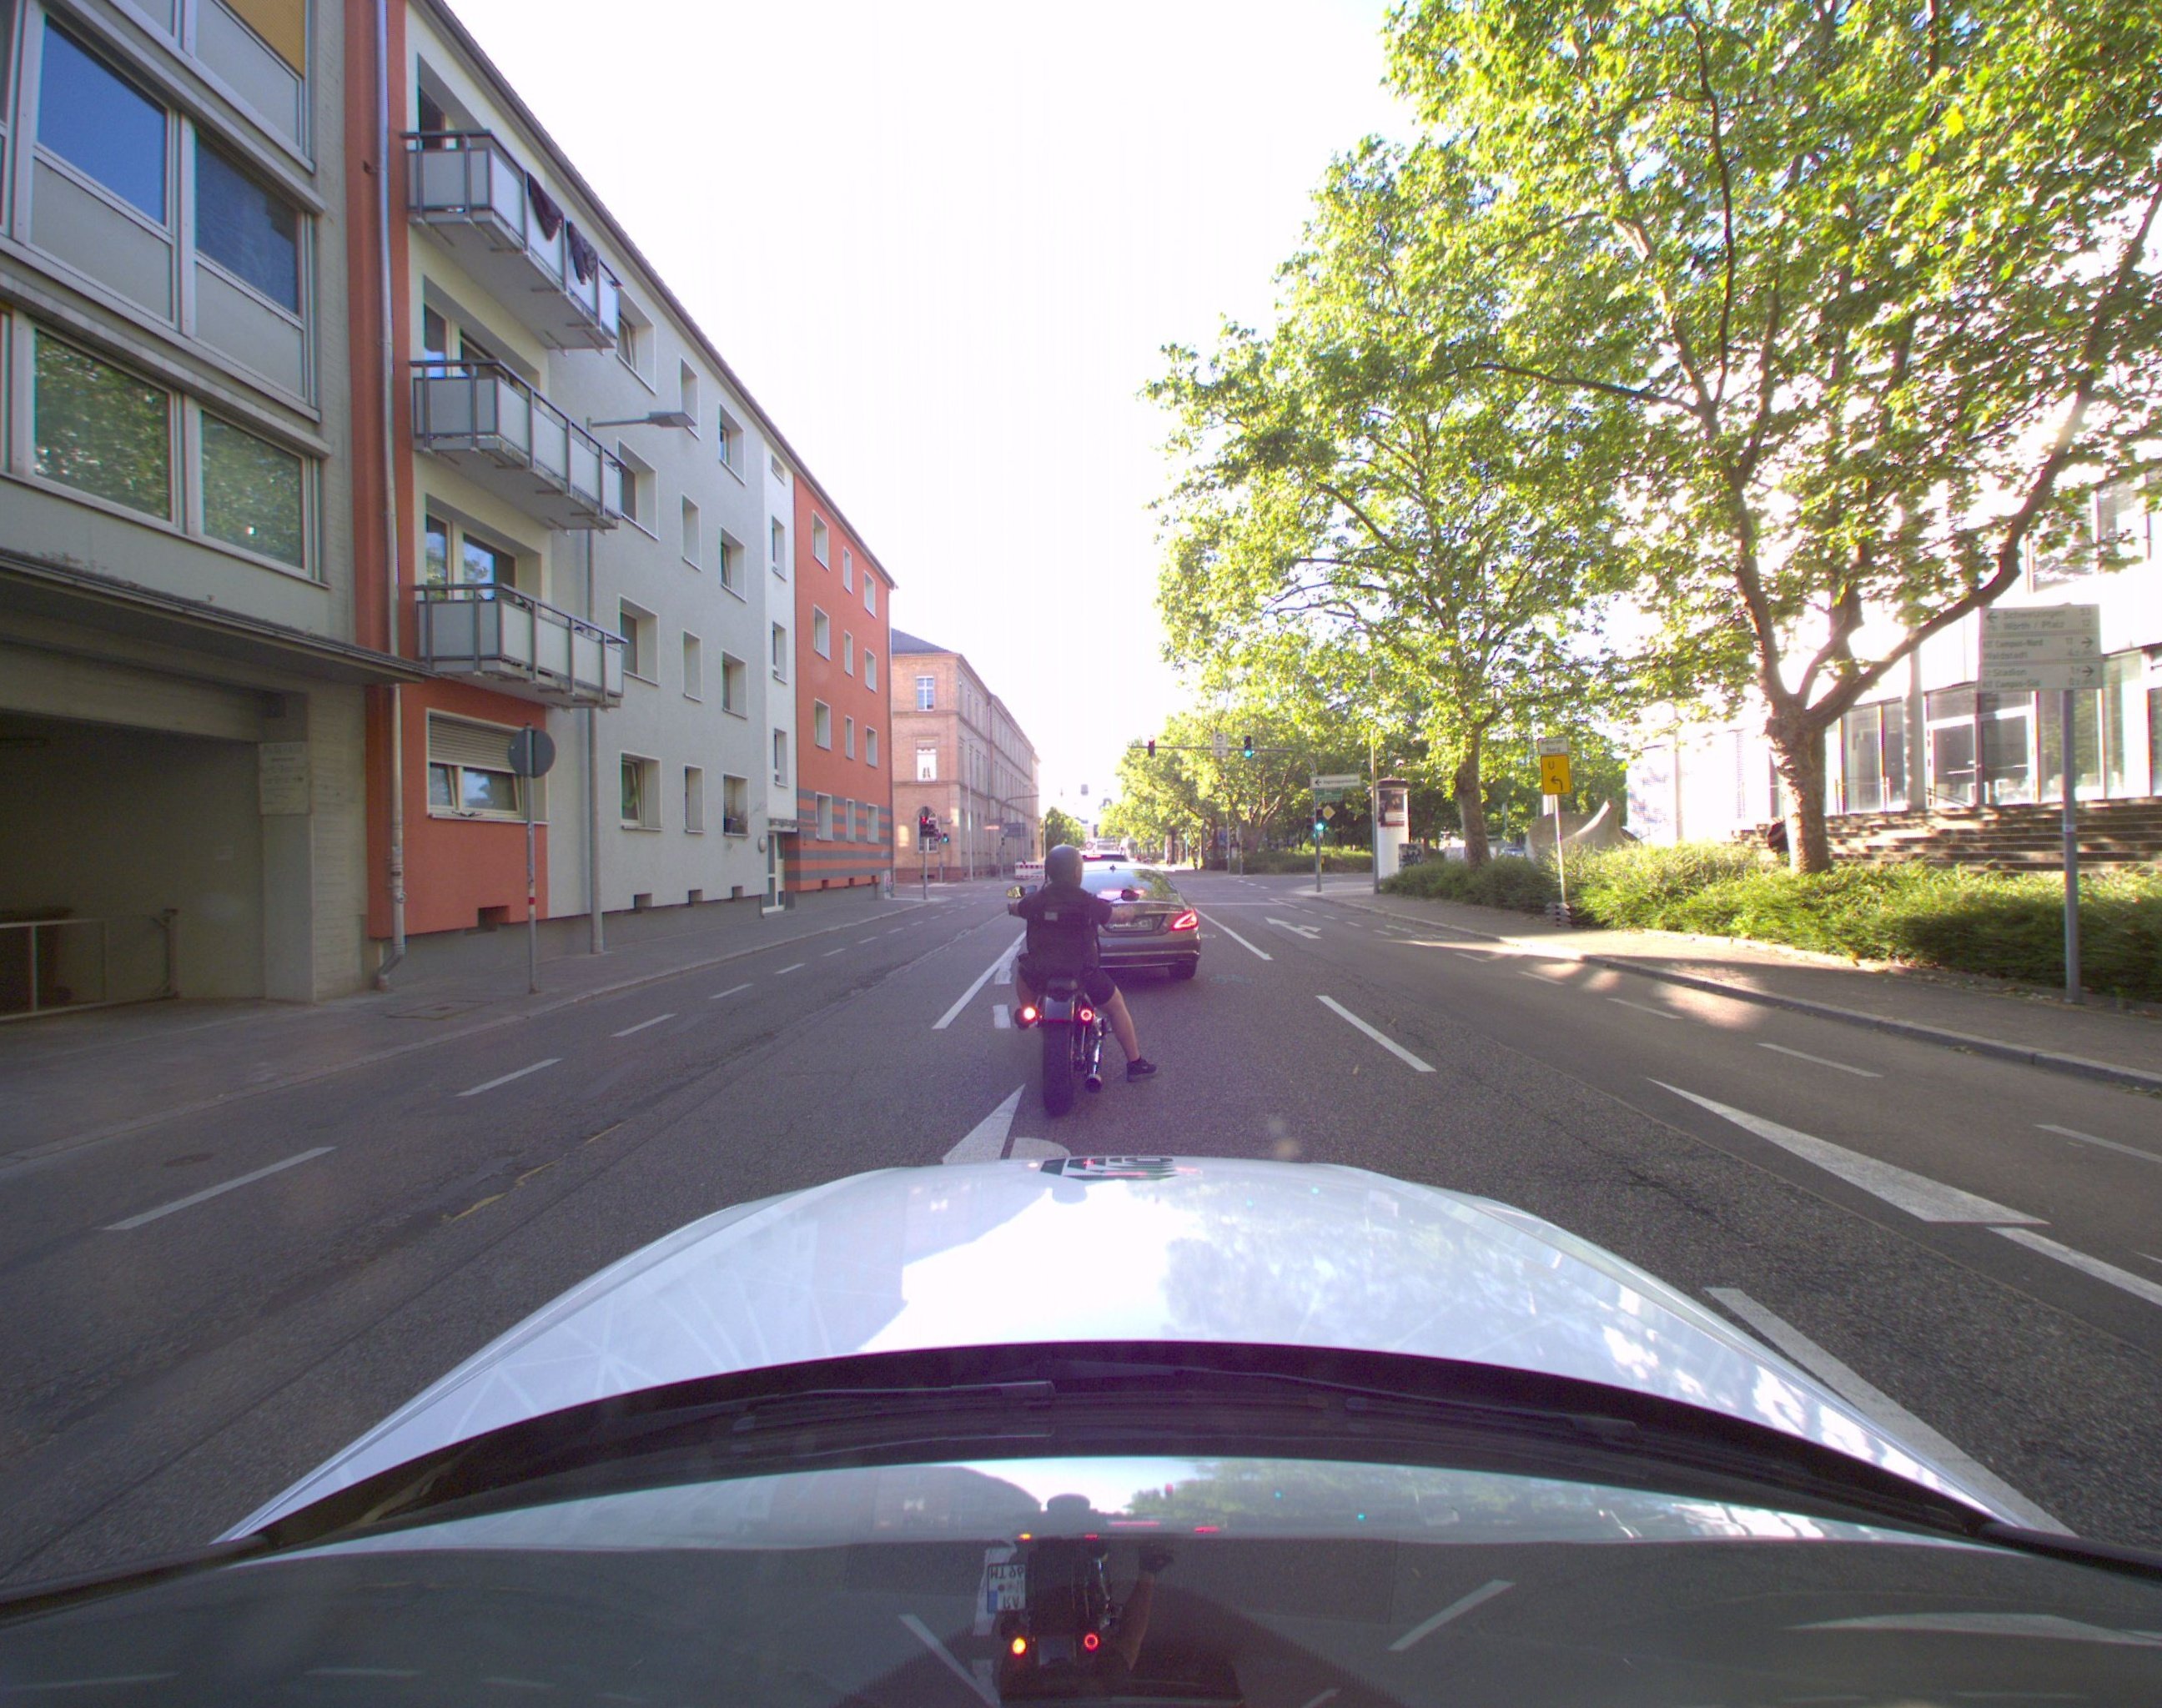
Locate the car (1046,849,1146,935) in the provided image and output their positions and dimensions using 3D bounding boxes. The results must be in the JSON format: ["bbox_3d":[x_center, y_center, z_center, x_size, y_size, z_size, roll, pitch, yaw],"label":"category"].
[{"bbox_3d":[0.263,0.701,16.888,1.808,1.536,3.847,-1,0,-1],"label":"car"}]

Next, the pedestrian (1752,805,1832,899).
[{"bbox_3d":[13.932,-0.039,15.976,0.781,1.781,0.862,-1,0,0],"label":"pedestrian"}]

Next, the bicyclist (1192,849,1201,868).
[{"bbox_3d":[9.987,0.382,70.697,0.713,1.582,0.937,0,-1,4],"label":"bicyclist"}]

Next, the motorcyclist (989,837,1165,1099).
[{"bbox_3d":[-0.011,0.693,5.383,1.057,1.582,0.908,0,-1,1],"label":"motorcyclist"}]

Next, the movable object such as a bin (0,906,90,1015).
[{"bbox_3d":[-11.330,1.108,8.641,0.736,1.074,0.716,0,-1,2],"label":"movable object such as a bin"}]

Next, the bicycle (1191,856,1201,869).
[{"bbox_3d":[9.994,0.745,70.726,0.712,1.172,2.179,0,-1,6],"label":"bicycle"}]

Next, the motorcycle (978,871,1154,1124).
[{"bbox_3d":[-0.047,0.818,5.653,0.958,1.357,2.321,0,-1,2],"label":"motorcycle"}]

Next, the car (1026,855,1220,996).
[{"bbox_3d":[0.320,0.763,10.819,1.900,1.441,4.279,-1,0,-6],"label":"car"}]
